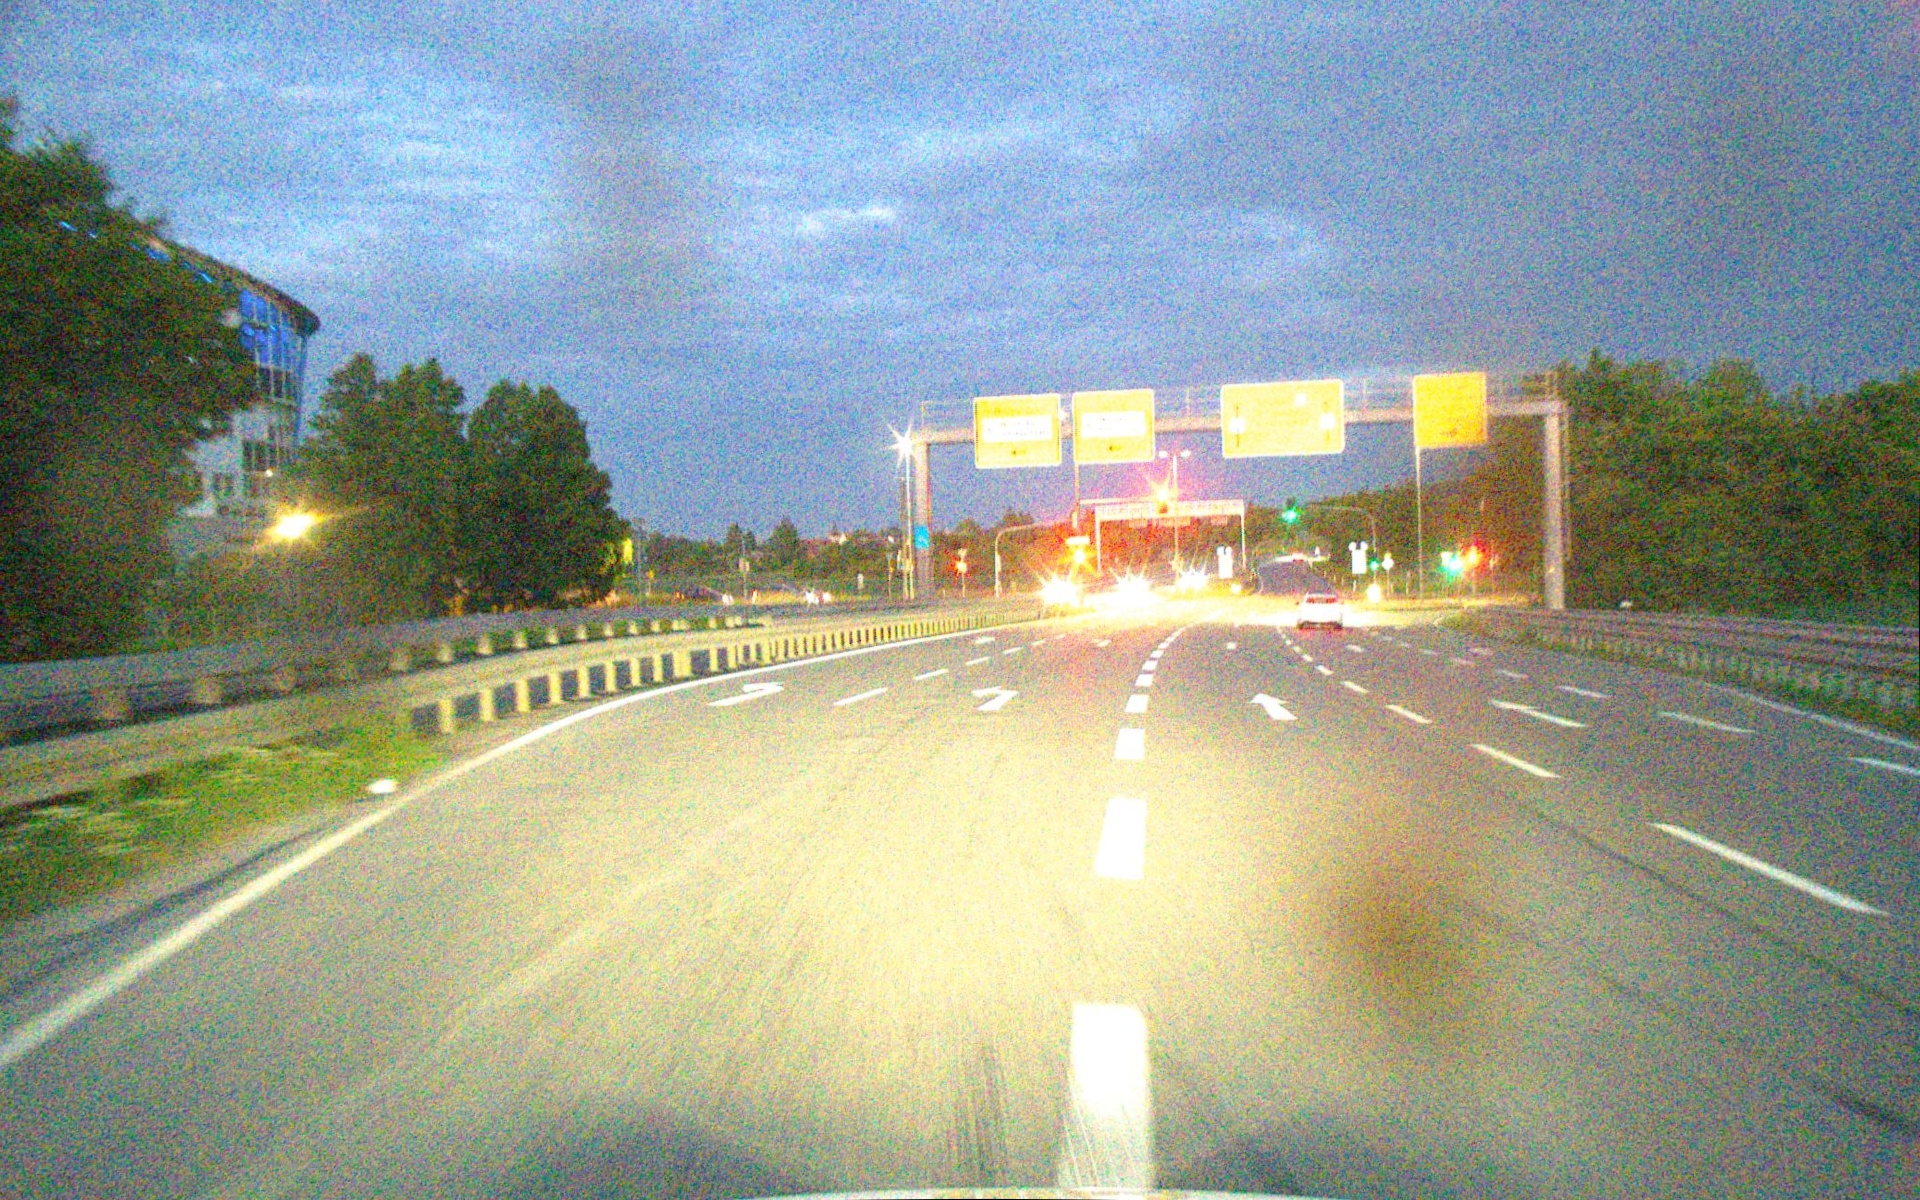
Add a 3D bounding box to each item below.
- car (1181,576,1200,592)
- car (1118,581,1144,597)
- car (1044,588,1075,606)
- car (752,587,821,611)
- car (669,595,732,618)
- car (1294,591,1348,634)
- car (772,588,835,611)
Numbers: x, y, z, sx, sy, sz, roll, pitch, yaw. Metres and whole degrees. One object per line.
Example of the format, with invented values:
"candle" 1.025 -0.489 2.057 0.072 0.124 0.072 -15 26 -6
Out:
"car" 25.671 -1.763 184.146 1.951 1.728 4.004 0 1 11
"car" 16.425 -1.091 158.674 1.951 1.507 4.686 0 1 11
"car" 8.381 -0.288 139.038 1.951 1.450 4.536 0 1 11
"car" -11.582 -0.060 110.507 4.221 1.564 1.731 -1 0 11
"car" -17.635 0.463 112.567 3.902 1.499 1.731 -1 0 7
"car" 14.643 0.493 67.008 1.965 1.639 3.848 1 0 15
"car" -10.806 -0.037 114.304 3.954 1.564 1.731 -1 0 10
